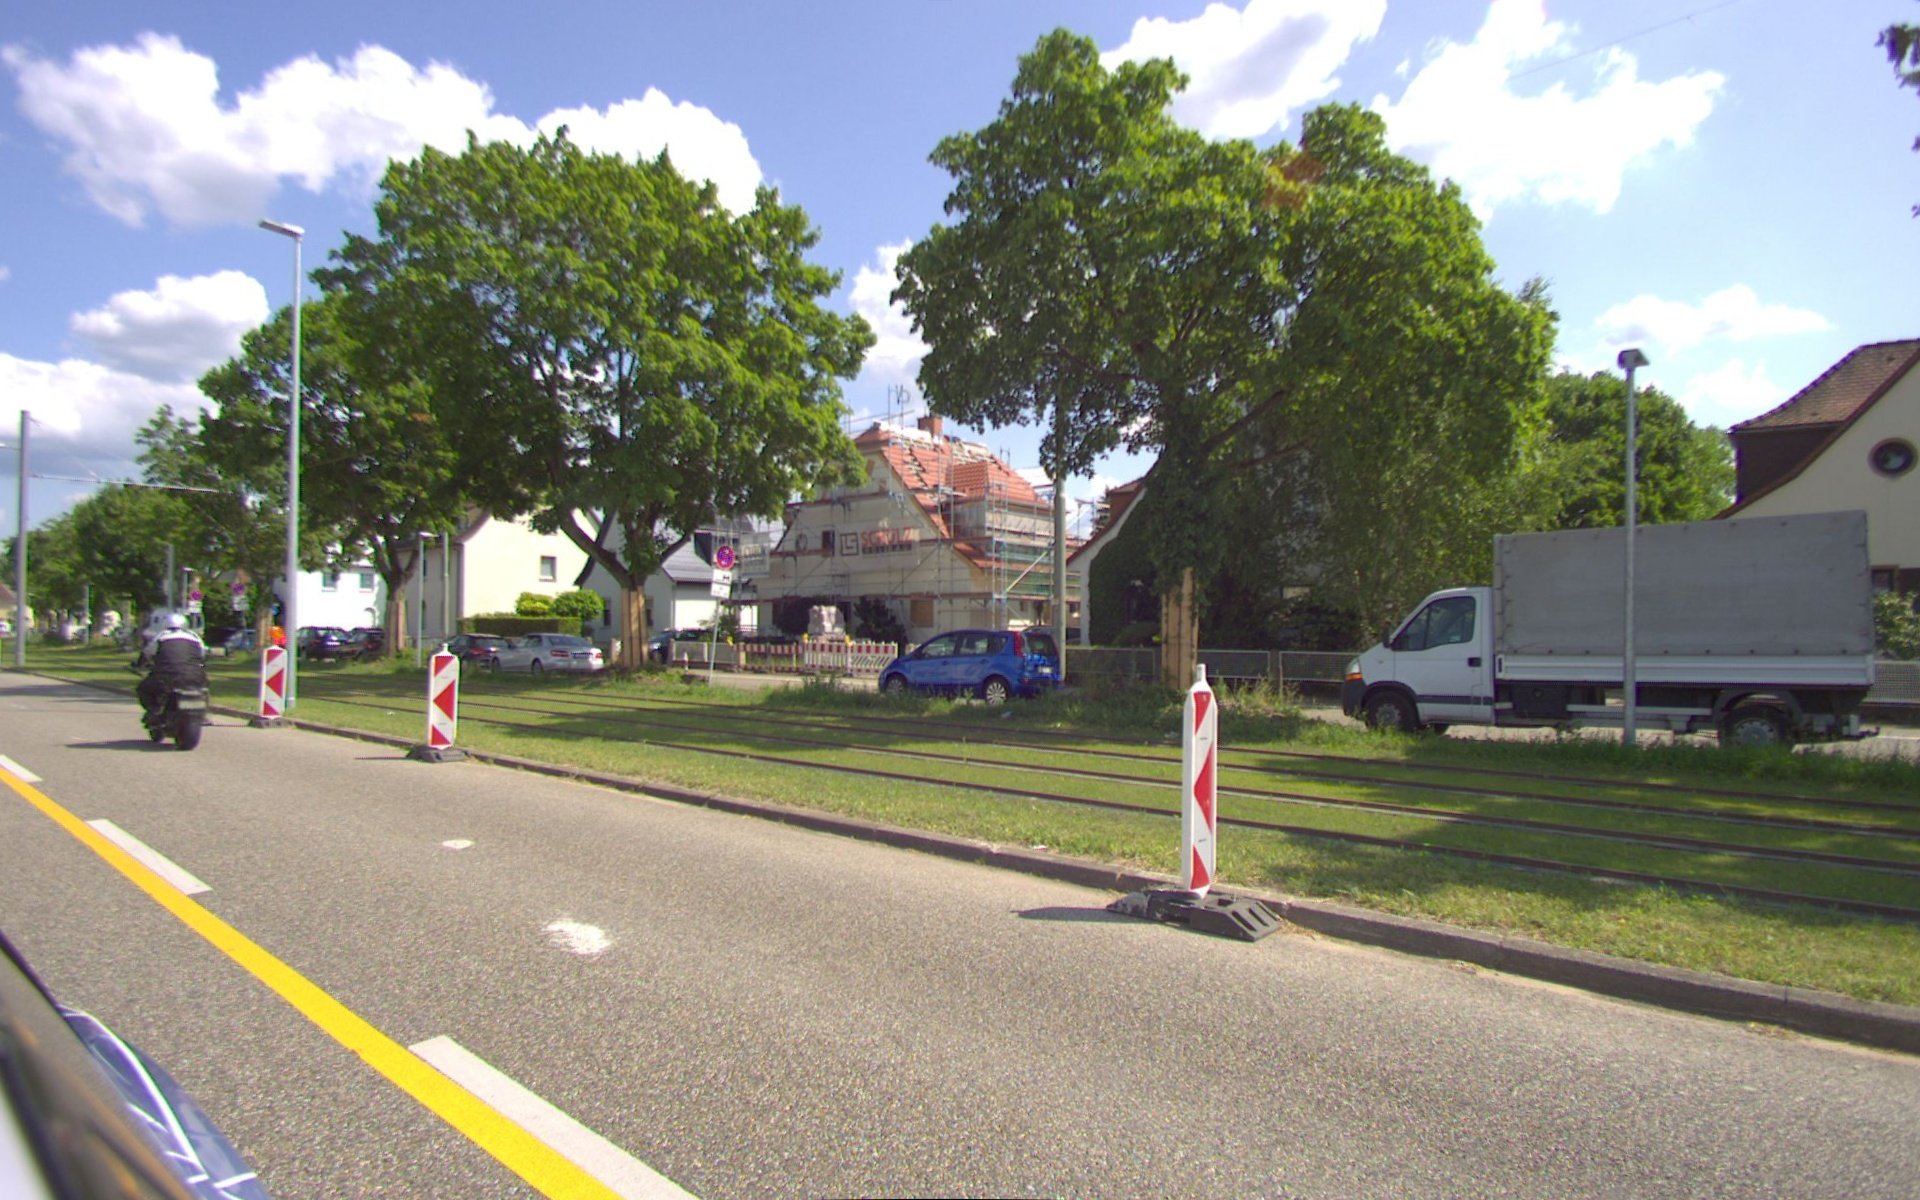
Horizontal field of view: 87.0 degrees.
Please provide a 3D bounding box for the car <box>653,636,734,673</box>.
[{"bbox_3d":[-11.237,2.262,42.613,3.190,1.393,1.492,-1,0,-19],"label":"car"}]

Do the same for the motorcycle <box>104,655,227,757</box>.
[{"bbox_3d":[-9.656,1.227,12.261,2.465,1.050,0.697,-1,-2,41],"label":"motorcycle"}]

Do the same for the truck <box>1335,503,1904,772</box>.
[{"bbox_3d":[8.401,0.418,13.474,5.948,2.826,2.340,-1,0,41],"label":"truck"}]

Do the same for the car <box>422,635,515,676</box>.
[{"bbox_3d":[-17.362,1.927,35.694,3.785,1.251,1.604,-1,0,41],"label":"car"}]

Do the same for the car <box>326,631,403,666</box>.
[{"bbox_3d":[-24.823,1.971,42.128,3.998,1.311,1.615,-1,0,41],"label":"car"}]

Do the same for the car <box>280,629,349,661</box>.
[{"bbox_3d":[-29.375,2.030,46.031,3.998,1.311,1.615,-1,0,41],"label":"car"}]

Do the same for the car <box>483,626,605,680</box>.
[{"bbox_3d":[-13.144,1.607,31.839,4.522,1.524,1.685,-1,0,41],"label":"car"}]

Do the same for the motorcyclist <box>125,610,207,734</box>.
[{"bbox_3d":[-9.603,0.851,12.244,0.588,1.453,0.643,-1,-2,41],"label":"motorcyclist"}]

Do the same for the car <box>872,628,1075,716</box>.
[{"bbox_3d":[0.203,1.354,20.205,3.929,1.524,1.651,-1,0,41],"label":"car"}]
